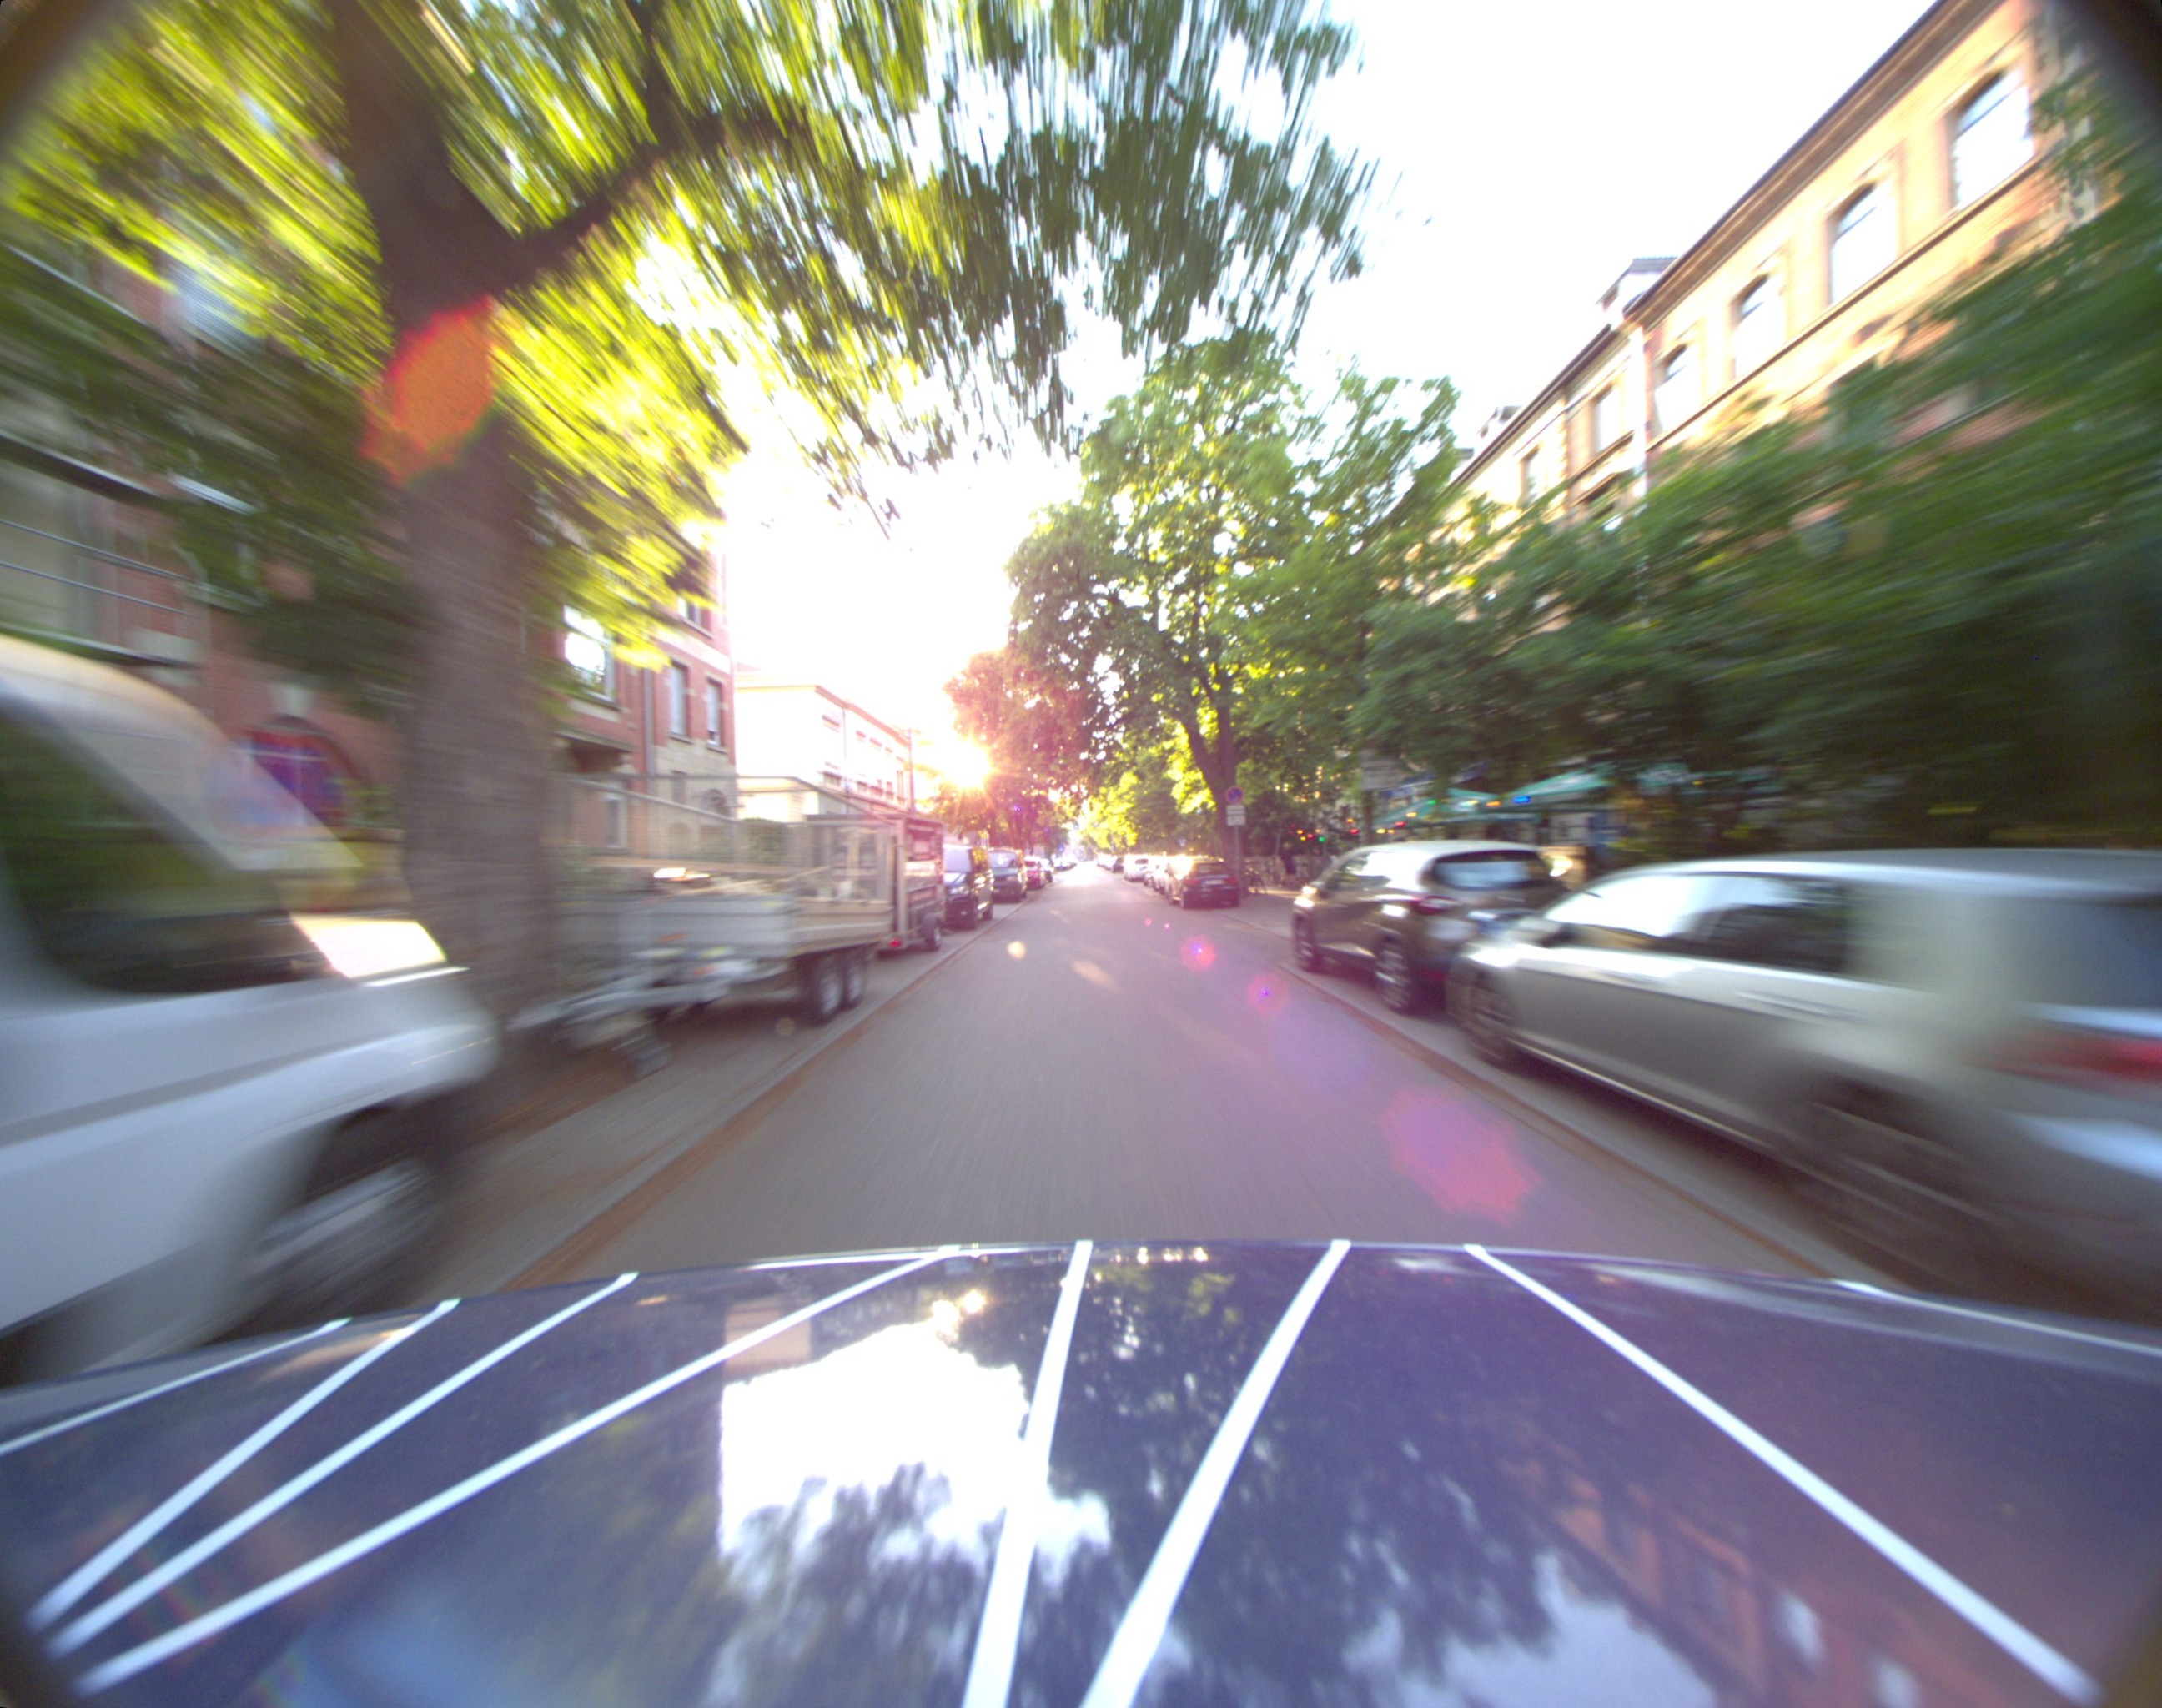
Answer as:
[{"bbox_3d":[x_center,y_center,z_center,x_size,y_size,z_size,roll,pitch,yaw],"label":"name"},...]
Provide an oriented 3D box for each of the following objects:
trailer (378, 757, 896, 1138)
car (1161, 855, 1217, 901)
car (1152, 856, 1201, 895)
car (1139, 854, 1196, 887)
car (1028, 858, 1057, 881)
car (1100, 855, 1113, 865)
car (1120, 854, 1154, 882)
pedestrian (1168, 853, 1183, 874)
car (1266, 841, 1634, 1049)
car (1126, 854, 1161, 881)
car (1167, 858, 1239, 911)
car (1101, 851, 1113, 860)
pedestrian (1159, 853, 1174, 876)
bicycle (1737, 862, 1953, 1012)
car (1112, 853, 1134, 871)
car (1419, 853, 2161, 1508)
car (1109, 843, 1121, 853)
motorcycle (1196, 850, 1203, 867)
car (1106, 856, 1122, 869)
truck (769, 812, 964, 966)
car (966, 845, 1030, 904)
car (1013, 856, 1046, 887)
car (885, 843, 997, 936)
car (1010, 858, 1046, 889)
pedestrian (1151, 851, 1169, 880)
[{"bbox_3d":[-3.249,0.581,6.916,1.959,2.282,4.645,1,0,0],"label":"trailer"},{"bbox_3d":[3.895,0.842,27.959,1.555,1.476,3.694,-4,0,2],"label":"car"},{"bbox_3d":[3.951,0.868,31.944,1.607,1.427,3.886,-4,0,2],"label":"car"},{"bbox_3d":[4.177,0.790,37.446,1.845,1.403,4.599,-4,0,-5],"label":"car"},{"bbox_3d":[-2.679,1.055,53.274,1.735,1.547,3.963,1,-1,1],"label":"car"},{"bbox_3d":[3.627,0.864,108.228,1.617,1.433,4.310,-3,-1,-2],"label":"car"},{"bbox_3d":[3.728,0.921,51.066,1.669,1.667,3.846,-4,0,-3],"label":"car"},{"bbox_3d":[7.441,0.770,59.979,0.688,1.621,1.051,-1,0,-26],"label":"pedestrian"},{"bbox_3d":[3.529,0.757,8.350,1.694,1.554,4.402,-4,0,-2],"label":"car"},{"bbox_3d":[3.812,0.842,46.824,1.668,1.484,3.710,-4,0,0],"label":"car"},{"bbox_3d":[3.662,0.889,23.356,1.555,1.476,3.694,-1,0,-1],"label":"car"},{"bbox_3d":[4.298,0.245,124.294,1.617,1.433,4.104,-3,-1,-2],"label":"car"},{"bbox_3d":[6.902,0.828,61.297,0.688,1.824,1.007,-1,0,-26],"label":"pedestrian"},{"bbox_3d":[7.820,0.749,7.958,0.606,1.277,2.489,-1,0,21],"label":"bicycle"},{"bbox_3d":[4.256,0.834,76.709,1.871,1.677,4.592,-3,-1,0],"label":"car"},{"bbox_3d":[3.475,0.807,3.620,1.694,1.493,4.402,-4,0,0],"label":"car"},{"bbox_3d":[5.723,-0.977,128.883,1.617,1.433,4.104,-3,-1,-2],"label":"car"},{"bbox_3d":[8.566,0.297,54.933,0.392,1.179,1.958,-3,0,10],"label":"motorcycle"},{"bbox_3d":[4.068,1.058,94.803,1.617,1.433,3.754,-4,0,-3],"label":"car"},{"bbox_3d":[-3.498,0.539,13.450,1.958,2.233,4.646,1,-1,2],"label":"truck"},{"bbox_3d":[-3.066,0.743,29.021,1.959,2.046,4.830,1,-1,-1],"label":"car"},{"bbox_3d":[-2.961,0.982,43.171,1.669,1.668,4.117,1,-1,-6],"label":"car"},{"bbox_3d":[-3.202,0.782,18.280,1.843,1.931,4.614,1,-1,-1],"label":"car"},{"bbox_3d":[-2.658,0.964,38.676,1.669,1.491,3.693,1,-1,-2],"label":"car"},{"bbox_3d":[5.623,0.806,54.040,0.869,2.002,1.008,-1,0,-20],"label":"pedestrian"}]
